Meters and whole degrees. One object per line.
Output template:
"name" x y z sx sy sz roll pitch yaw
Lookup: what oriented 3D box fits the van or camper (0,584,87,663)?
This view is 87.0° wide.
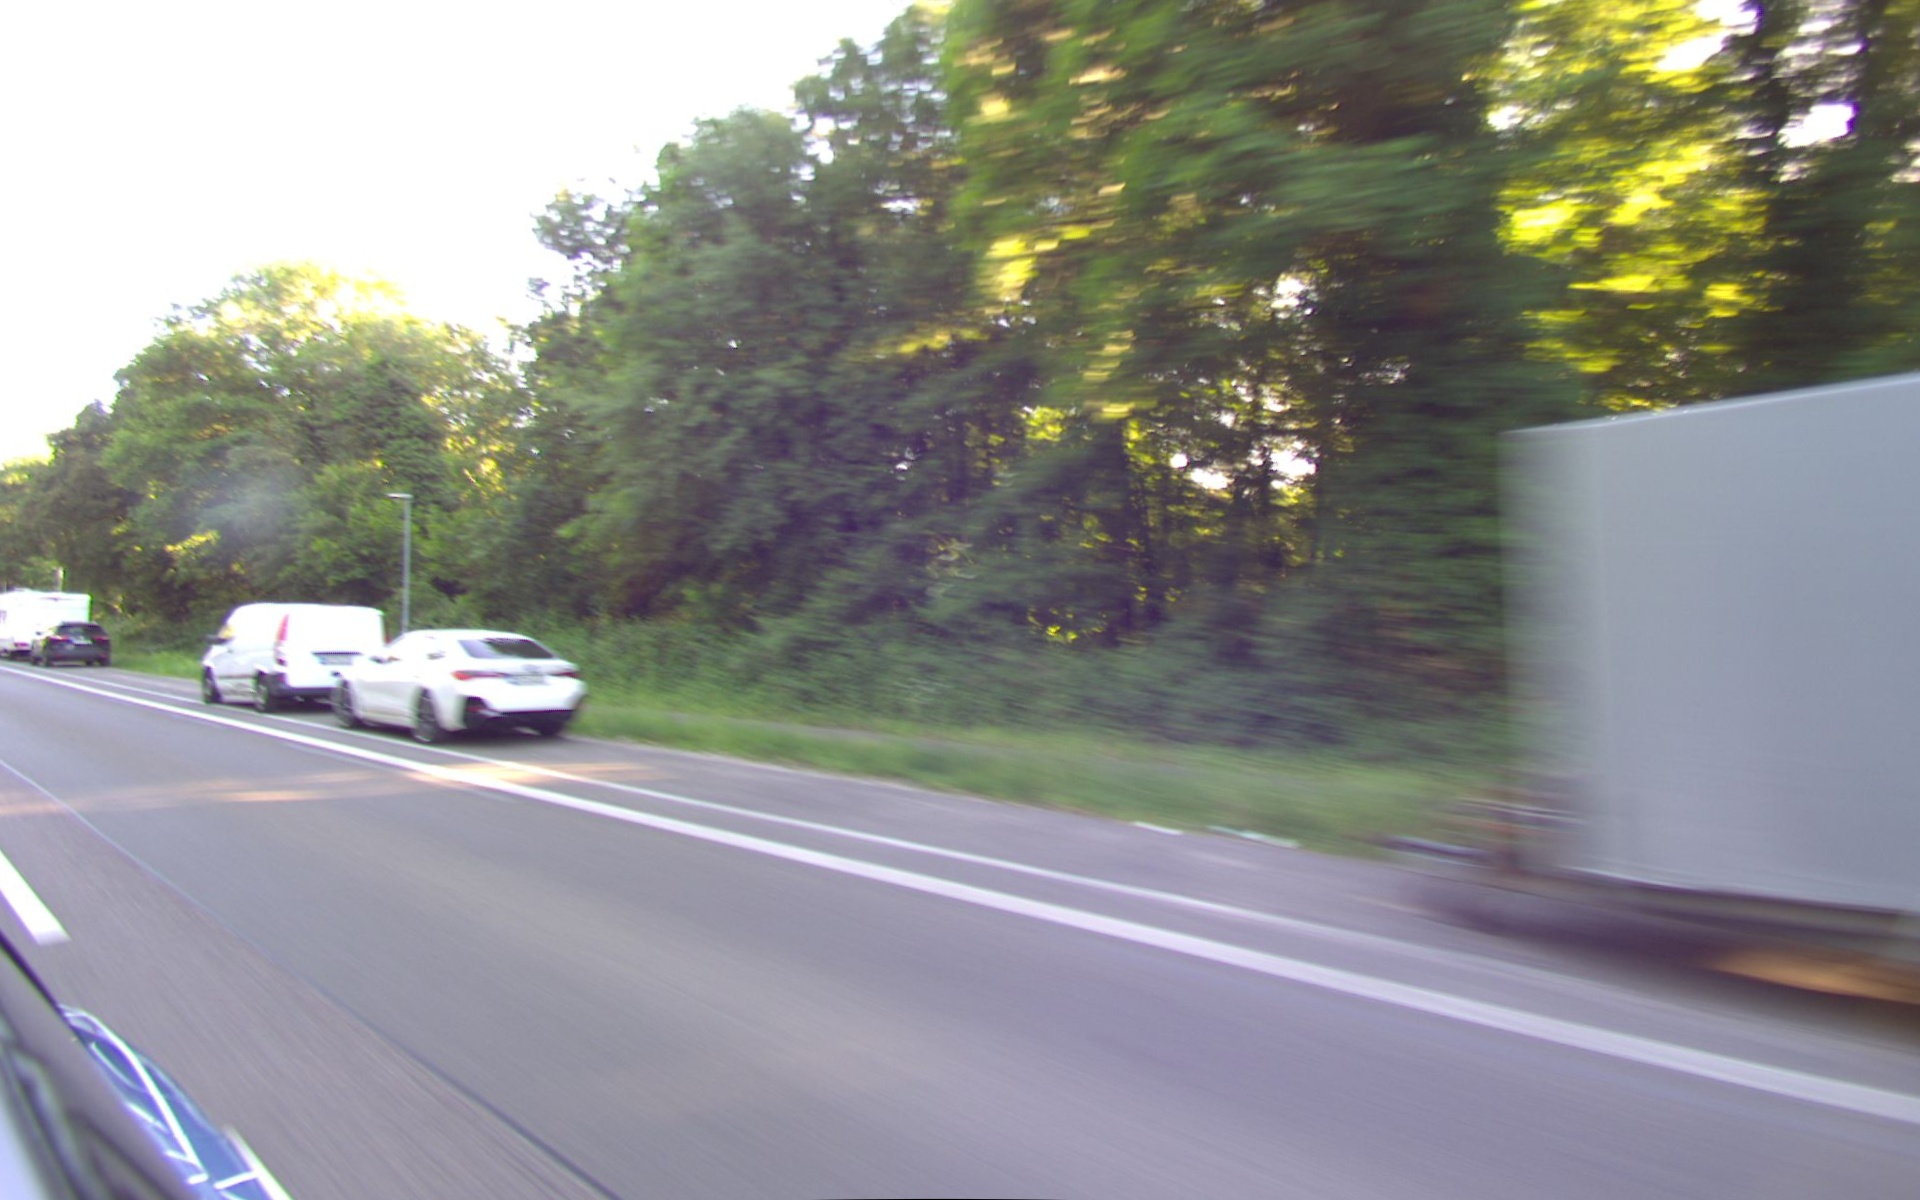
"van or camper" -38.414 1.003 41.730 7.102 2.993 2.292 -1 -4 39

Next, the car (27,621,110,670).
"car" -31.737 1.611 36.003 4.271 1.644 1.628 -1 -4 41

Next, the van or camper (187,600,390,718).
"van or camper" -12.502 1.032 18.725 4.852 1.926 1.817 -1 -3 40

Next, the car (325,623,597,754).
"car" -7.075 1.118 14.132 4.521 1.552 1.756 -1 -3 41

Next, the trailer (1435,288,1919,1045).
"trailer" 4.436 0.250 3.839 4.413 2.617 1.973 -1 -4 41

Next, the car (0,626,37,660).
"car" -43.972 1.957 46.307 4.674 1.487 1.810 -1 -3 38
